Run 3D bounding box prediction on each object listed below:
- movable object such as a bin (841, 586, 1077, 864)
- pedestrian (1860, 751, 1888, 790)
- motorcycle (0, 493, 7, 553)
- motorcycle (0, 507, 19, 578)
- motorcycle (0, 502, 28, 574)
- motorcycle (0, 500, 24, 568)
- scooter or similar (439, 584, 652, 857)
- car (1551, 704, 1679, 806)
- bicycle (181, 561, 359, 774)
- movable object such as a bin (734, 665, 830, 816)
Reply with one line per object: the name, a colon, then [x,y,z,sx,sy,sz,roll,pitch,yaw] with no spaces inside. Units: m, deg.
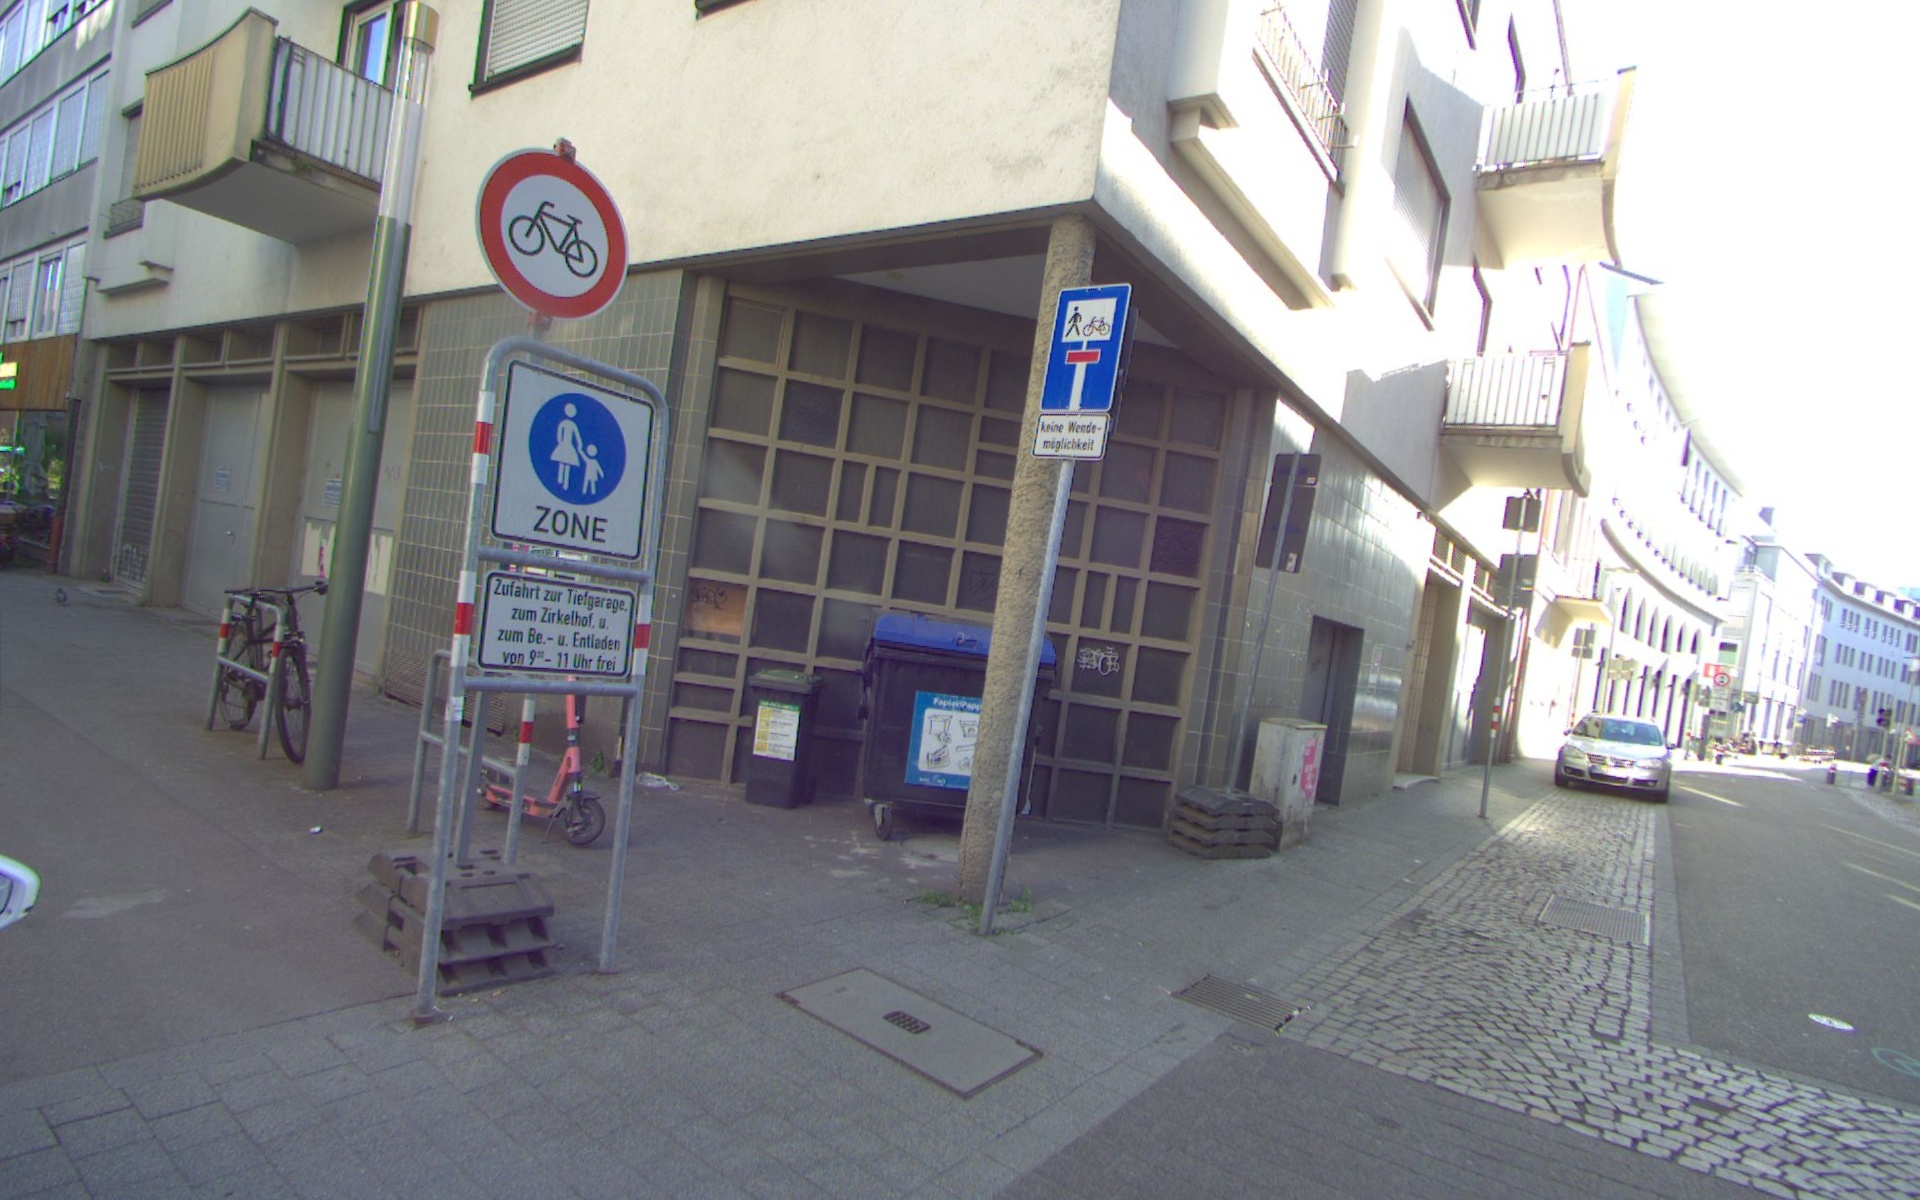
movable object such as a bin: [-0.063,0.807,6.980,1.270,1.609,1.153,8,1,-9]
pedestrian: [37.478,6.969,41.255,0.649,1.458,0.593,8,1,38]
motorcycle: [-17.402,-1.365,17.084,1.616,1.189,0.475,8,0,-36]
motorcycle: [-15.254,-0.960,15.090,1.555,1.054,0.369,8,0,-36]
motorcycle: [-15.666,-1.057,15.713,1.508,1.089,0.408,8,0,-36]
motorcycle: [-16.384,-1.168,16.441,1.476,1.089,0.408,8,0,-36]
scooter or similar: [-2.305,0.617,5.541,1.218,1.268,0.307,8,0,33]
car: [12.507,2.849,19.102,1.744,1.487,3.802,6,-2,36]
bicycle: [-4.523,0.393,6.540,1.686,1.153,0.446,6,-1,41]
movable object such as a bin: [-1.252,0.971,7.071,0.533,0.935,0.512,7,1,-11]
